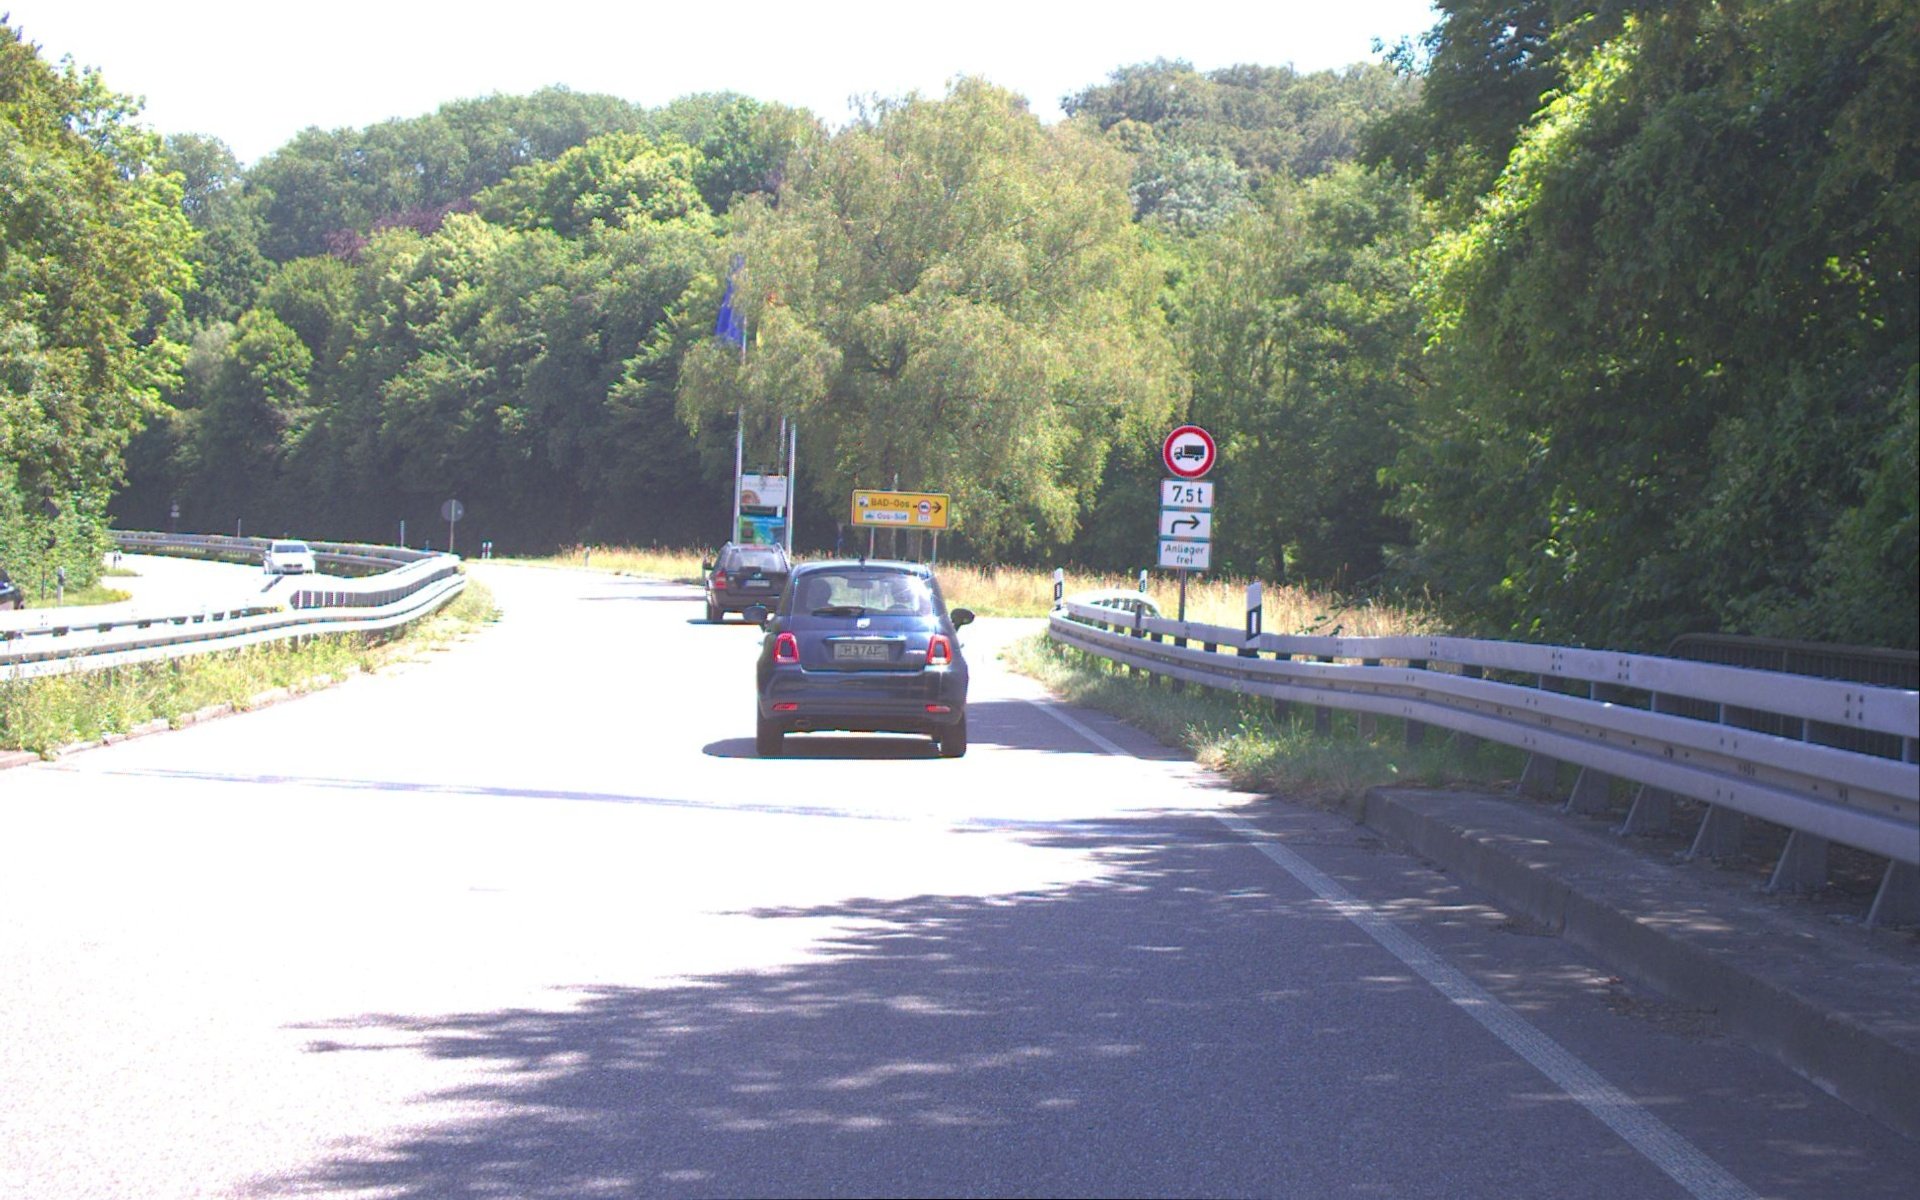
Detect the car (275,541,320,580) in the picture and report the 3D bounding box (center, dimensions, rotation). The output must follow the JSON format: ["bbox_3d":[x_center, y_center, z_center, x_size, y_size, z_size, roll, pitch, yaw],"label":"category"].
[{"bbox_3d":[-27.082,-1.616,140.586,1.755,1.567,4.415,0,1,-10],"label":"car"}]

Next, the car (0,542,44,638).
[{"bbox_3d":[-16.120,-0.172,54.939,1.755,1.523,4.684,0,1,-1],"label":"car"}]

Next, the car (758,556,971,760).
[{"bbox_3d":[-0.699,0.403,27.159,1.513,1.496,3.590,0,1,1],"label":"car"}]

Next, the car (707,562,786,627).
[{"bbox_3d":[-4.499,-0.129,72.183,1.525,1.309,3.415,0,1,-6],"label":"car"}]
